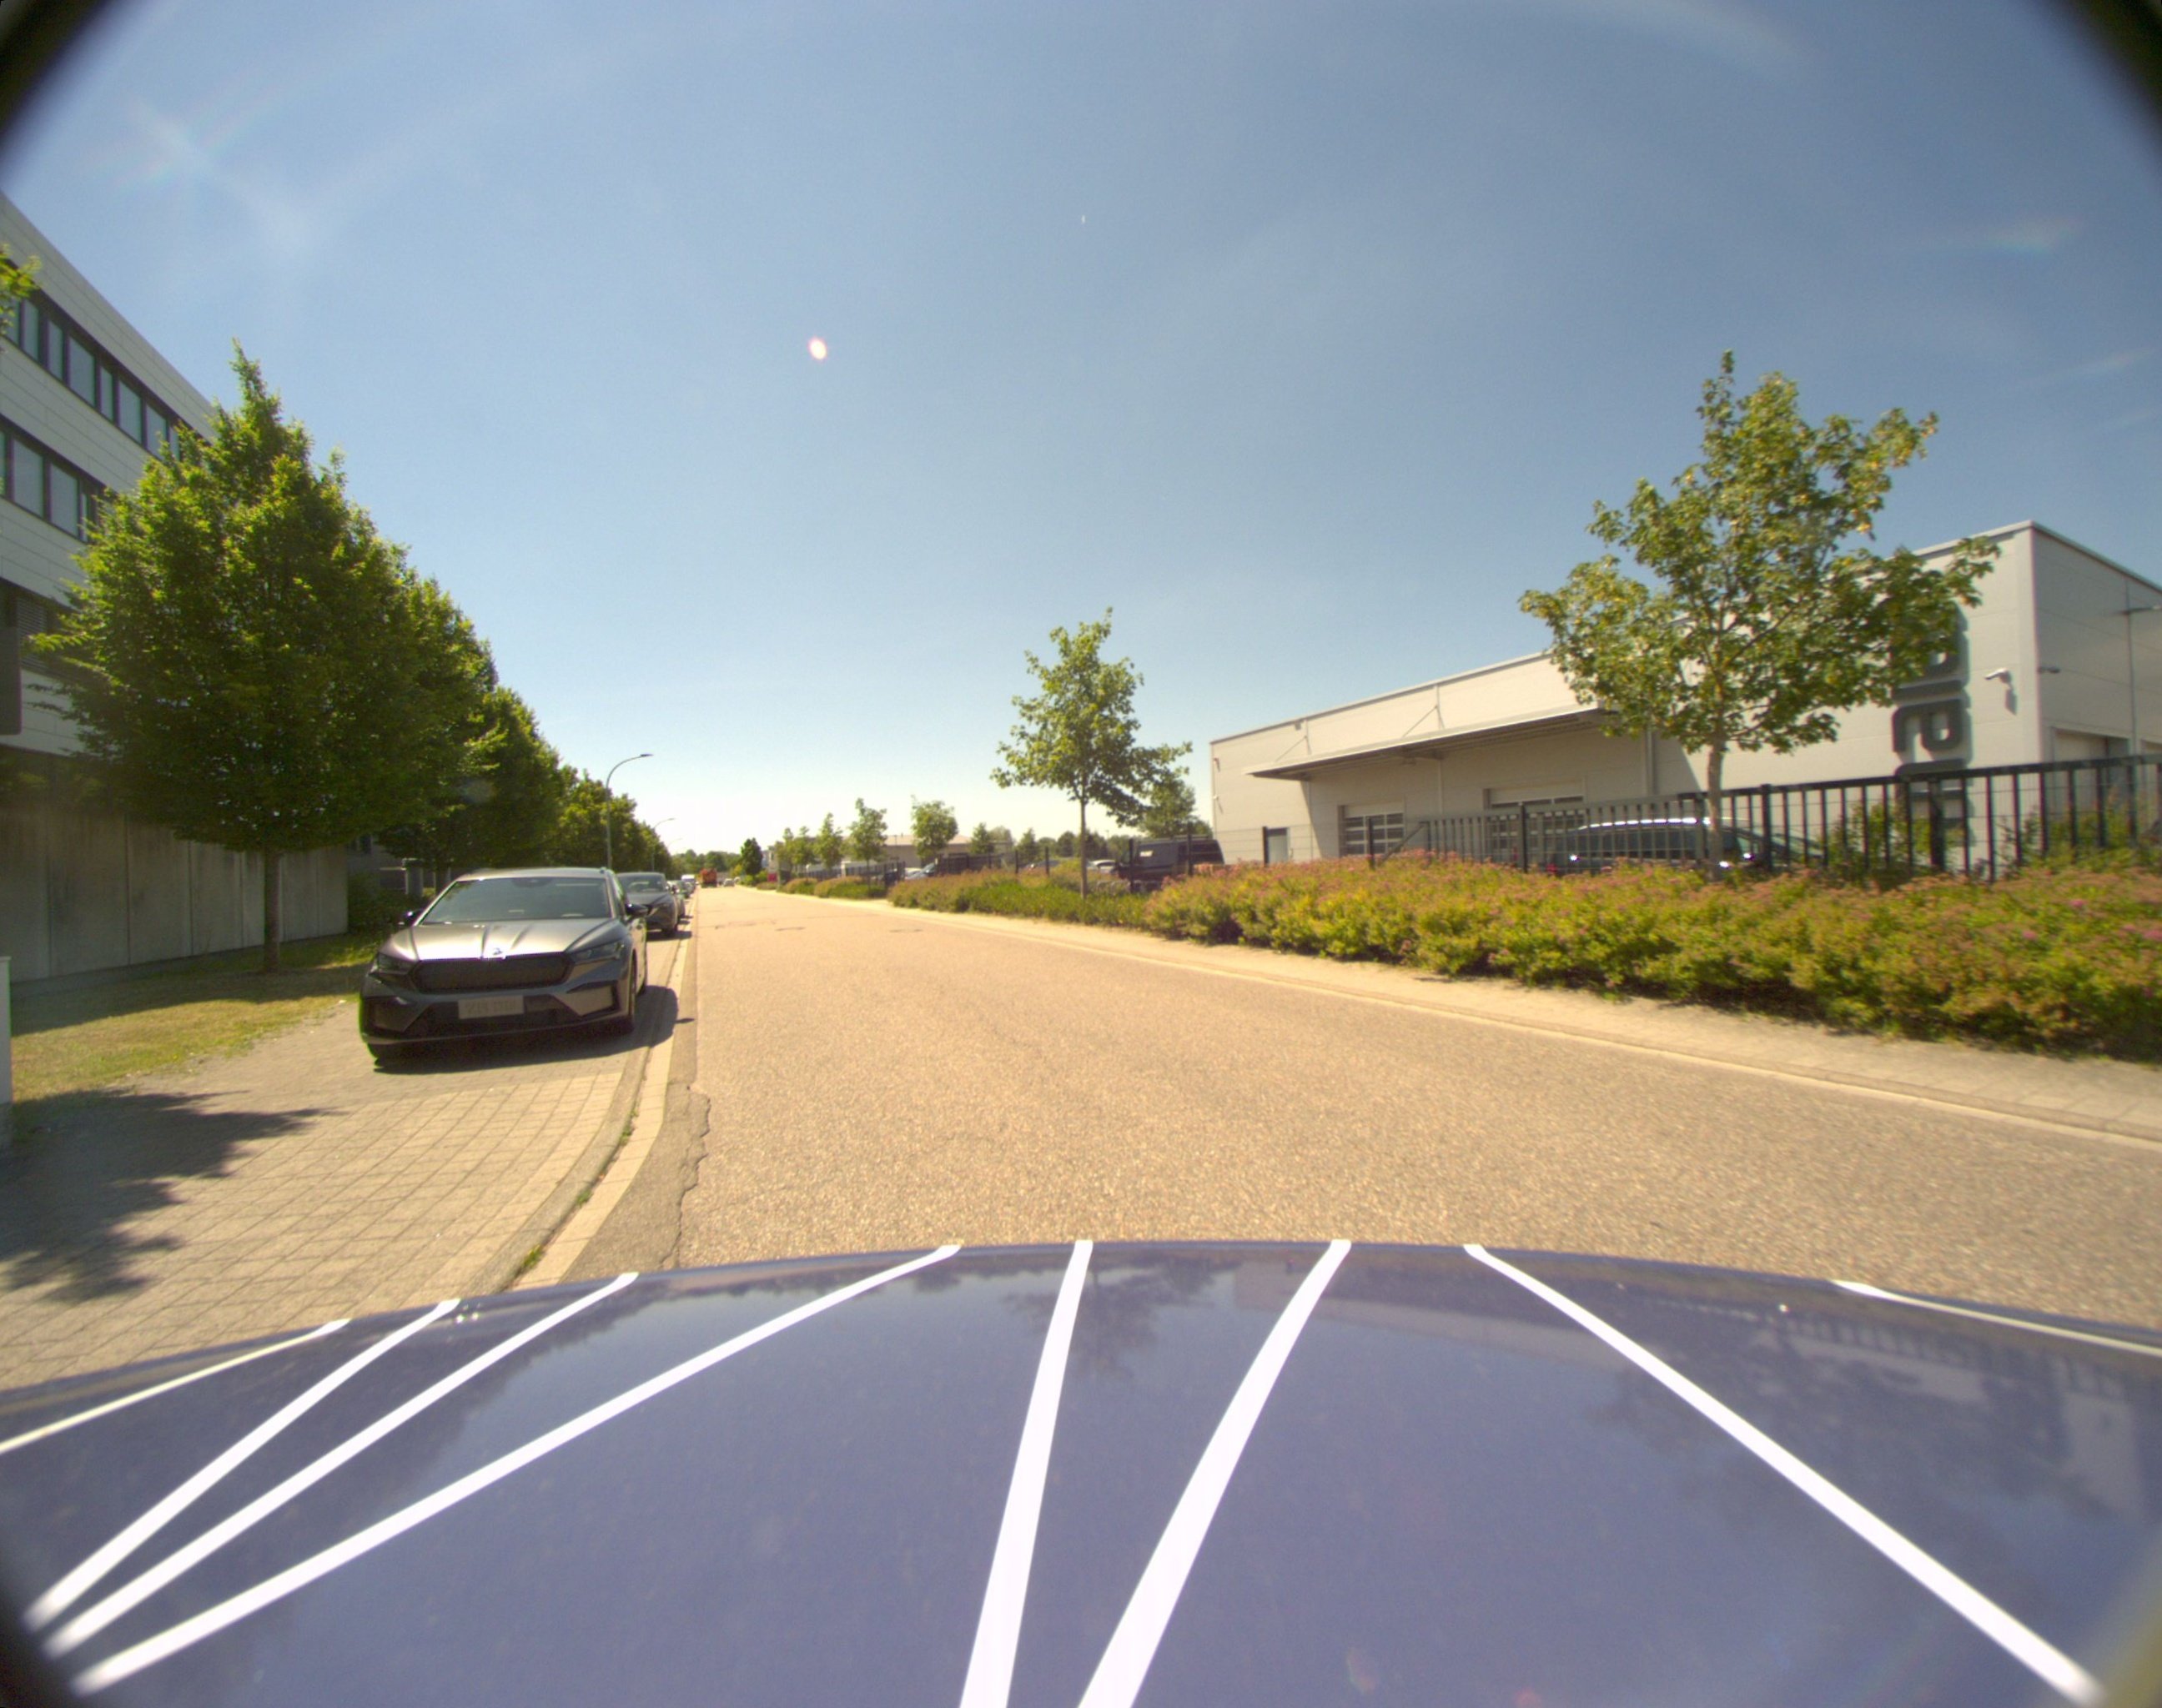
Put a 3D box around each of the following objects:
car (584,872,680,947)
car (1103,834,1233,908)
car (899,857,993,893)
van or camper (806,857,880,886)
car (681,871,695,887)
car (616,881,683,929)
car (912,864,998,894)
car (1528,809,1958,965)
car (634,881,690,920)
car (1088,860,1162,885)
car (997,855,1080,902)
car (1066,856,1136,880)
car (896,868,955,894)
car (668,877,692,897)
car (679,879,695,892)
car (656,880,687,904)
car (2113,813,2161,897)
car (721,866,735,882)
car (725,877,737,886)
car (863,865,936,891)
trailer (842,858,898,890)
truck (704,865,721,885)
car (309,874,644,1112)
[{"bbox_3d":[-11.293,1.320,19.365,1.766,1.652,4.354,0,-1,-26],"label":"car"},{"bbox_3d":[2.726,0.554,25.087,2.009,2.086,4.685,-4,1,-25],"label":"car"},{"bbox_3d":[-8.026,1.219,45.375,5.082,1.840,1.960,-3,0,-27],"label":"car"},{"bbox_3d":[-24.224,1.753,77.319,6.807,2.668,2.570,-2,0,-26],"label":"van or camper"},{"bbox_3d":[-68.414,4.332,132.320,2.064,2.682,4.825,-1,-1,-28],"label":"car"},{"bbox_3d":[-14.660,1.665,25.985,1.724,1.472,4.023,0,-2,-26],"label":"car"},{"bbox_3d":[-7.125,1.385,43.051,4.324,1.438,1.960,-3,0,-27],"label":"car"},{"bbox_3d":[8.965,0.386,10.746,2.002,1.713,4.083,-3,0,-25],"label":"car"},{"bbox_3d":[-16.546,1.796,30.154,1.724,1.415,3.943,0,-2,-26],"label":"car"},{"bbox_3d":[2.751,1.129,47.319,4.125,1.342,1.877,-3,0,-27],"label":"car"},{"bbox_3d":[-1.839,0.978,31.326,2.002,1.713,4.083,-3,0,-25],"label":"car"},{"bbox_3d":[1.330,0.916,49.629,4.125,1.342,1.877,-3,0,-27],"label":"car"},{"bbox_3d":[-10.364,1.767,50.604,3.385,1.489,1.901,-3,0,-27],"label":"car"},{"bbox_3d":[-35.074,2.856,66.498,1.746,1.660,4.359,-1,-1,-27],"label":"car"},{"bbox_3d":[-49.385,3.906,95.143,1.740,1.500,3.658,-1,-1,-28],"label":"car"},{"bbox_3d":[-27.016,2.456,50.183,1.700,1.467,4.260,-1,-1,-27],"label":"car"},{"bbox_3d":[20.117,-0.060,13.213,3.875,1.412,1.794,-3,0,-25],"label":"car"},{"bbox_3d":[-75.672,4.240,162.796,2.606,3.212,6.210,-2,-1,-26],"label":"car"},{"bbox_3d":[-65.899,5.159,143.095,2.003,1.674,3.992,-2,-1,-26],"label":"car"},{"bbox_3d":[-13.134,1.734,55.051,4.754,1.619,1.996,-3,0,-26],"label":"car"},{"bbox_3d":[-17.406,1.609,62.646,4.005,2.346,1.723,-4,1,-29],"label":"trailer"},{"bbox_3d":[-69.536,3.954,143.267,2.611,3.523,10.480,-1,-1,-28],"label":"truck"},{"bbox_3d":[-5.632,1.044,7.760,1.812,1.652,4.599,0,-2,-27],"label":"car"}]
